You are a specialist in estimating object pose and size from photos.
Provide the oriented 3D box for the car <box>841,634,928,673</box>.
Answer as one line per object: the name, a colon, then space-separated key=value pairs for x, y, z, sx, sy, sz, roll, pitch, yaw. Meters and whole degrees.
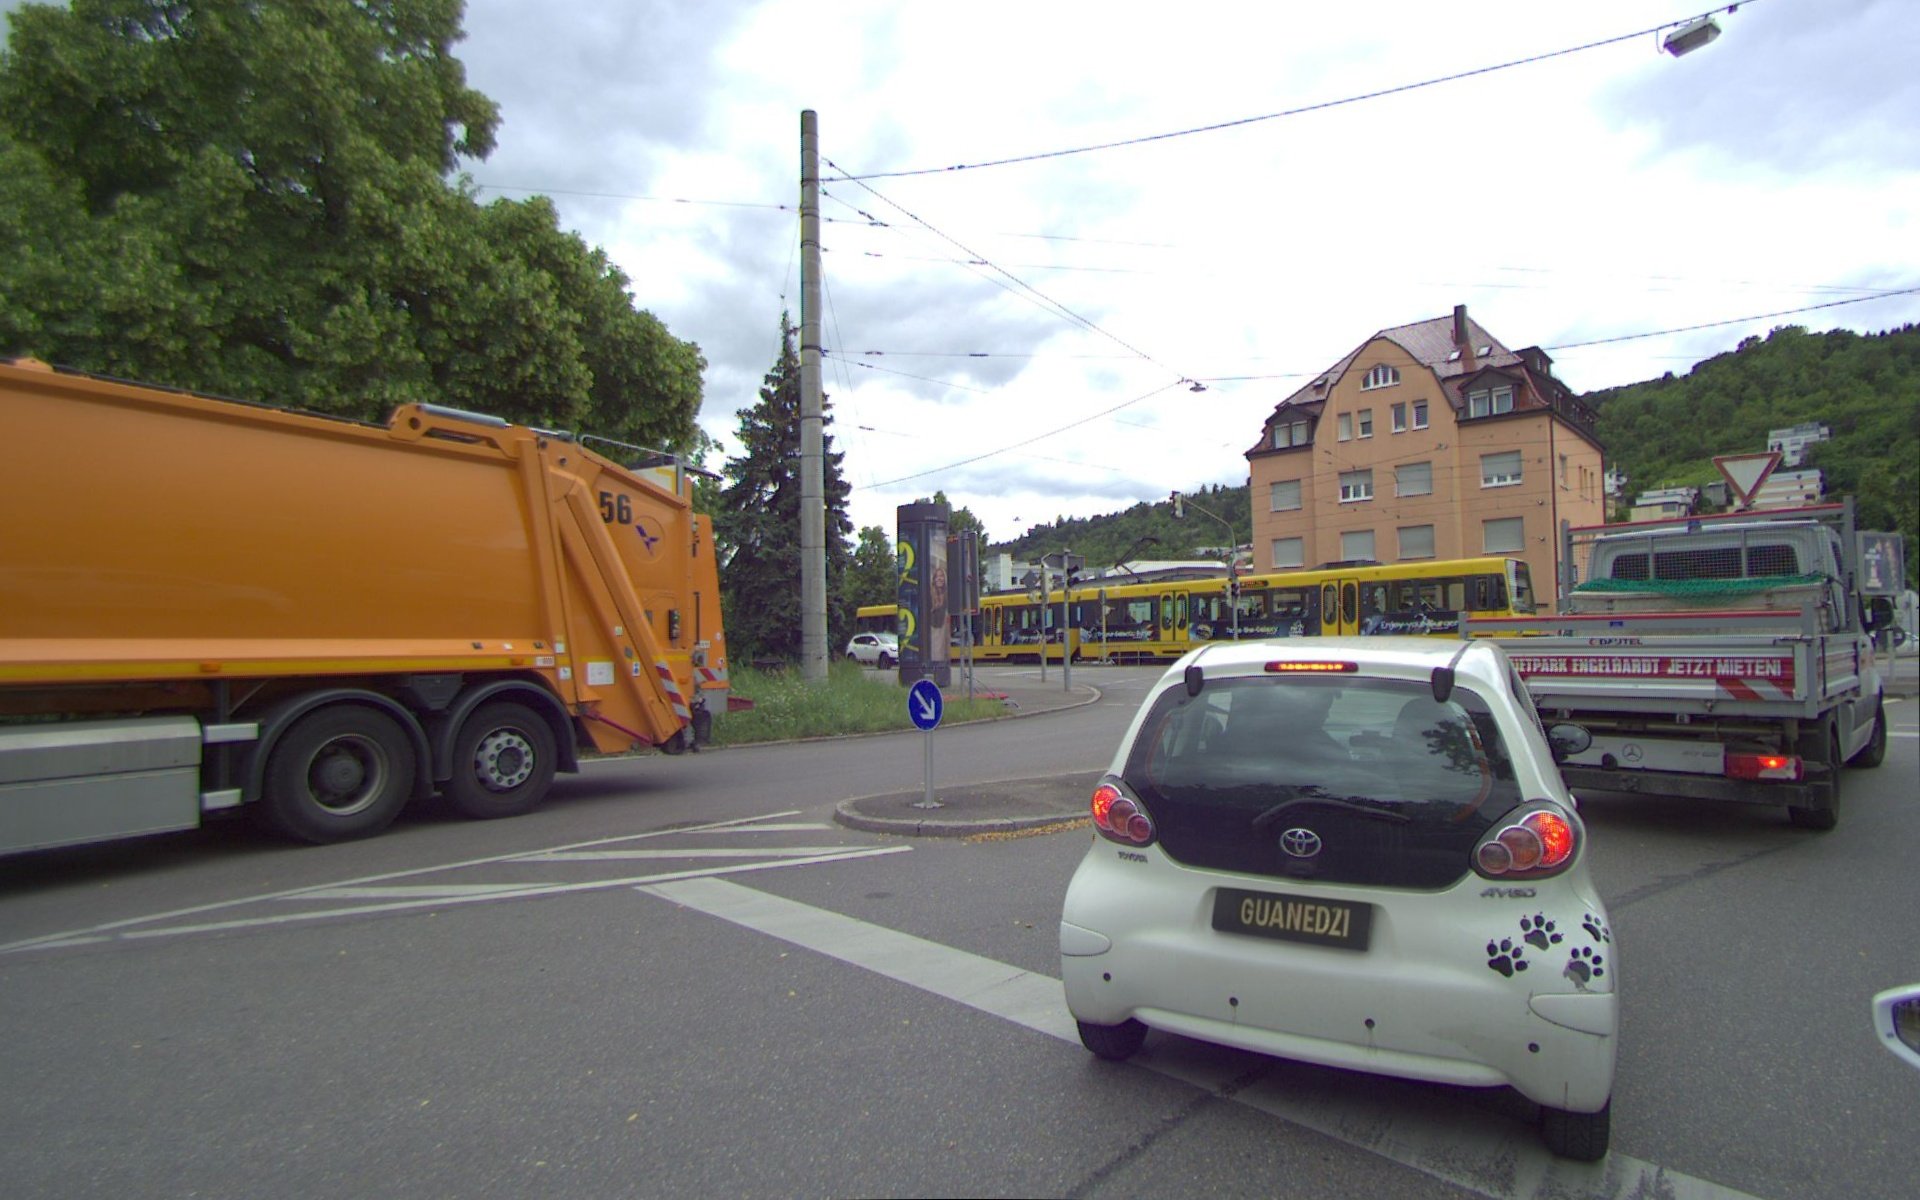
car: x=-3.399 y=2.387 z=44.642 sx=1.788 sy=1.605 sz=4.079 roll=0 pitch=-3 yaw=-40

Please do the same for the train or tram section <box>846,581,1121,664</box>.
train or tram section: x=0.381 y=1.460 z=53.575 sx=3.249 sy=3.714 sz=18.967 roll=0 pitch=-3 yaw=-38

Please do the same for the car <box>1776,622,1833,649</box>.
car: x=52.626 y=2.188 z=62.557 sx=3.592 sy=1.539 sz=1.768 roll=-1 pitch=-2 yaw=-34

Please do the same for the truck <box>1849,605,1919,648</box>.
truck: x=55.259 y=1.524 z=58.296 sx=5.112 sy=2.424 sz=1.995 roll=-3 pitch=-3 yaw=33

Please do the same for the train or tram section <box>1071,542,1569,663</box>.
train or tram section: x=12.569 y=0.535 z=39.200 sx=3.254 sy=3.714 sz=18.939 roll=0 pitch=-3 yaw=-42

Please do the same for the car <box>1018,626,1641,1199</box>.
car: x=1.726 y=0.876 z=4.331 sx=1.615 sy=1.451 sz=3.426 roll=-3 pitch=-3 yaw=28

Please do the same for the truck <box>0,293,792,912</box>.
truck: x=-5.930 y=0.049 z=7.656 sx=2.751 sy=3.573 sz=10.389 roll=-2 pitch=-1 yaw=34

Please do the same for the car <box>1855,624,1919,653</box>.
car: x=52.919 y=2.153 z=56.171 sx=1.764 sy=1.553 sz=4.162 roll=1 pitch=-3 yaw=-44

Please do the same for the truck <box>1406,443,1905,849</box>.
truck: x=6.486 y=0.365 z=8.961 sx=5.986 sy=2.429 sz=2.399 roll=1 pitch=-4 yaw=-43
